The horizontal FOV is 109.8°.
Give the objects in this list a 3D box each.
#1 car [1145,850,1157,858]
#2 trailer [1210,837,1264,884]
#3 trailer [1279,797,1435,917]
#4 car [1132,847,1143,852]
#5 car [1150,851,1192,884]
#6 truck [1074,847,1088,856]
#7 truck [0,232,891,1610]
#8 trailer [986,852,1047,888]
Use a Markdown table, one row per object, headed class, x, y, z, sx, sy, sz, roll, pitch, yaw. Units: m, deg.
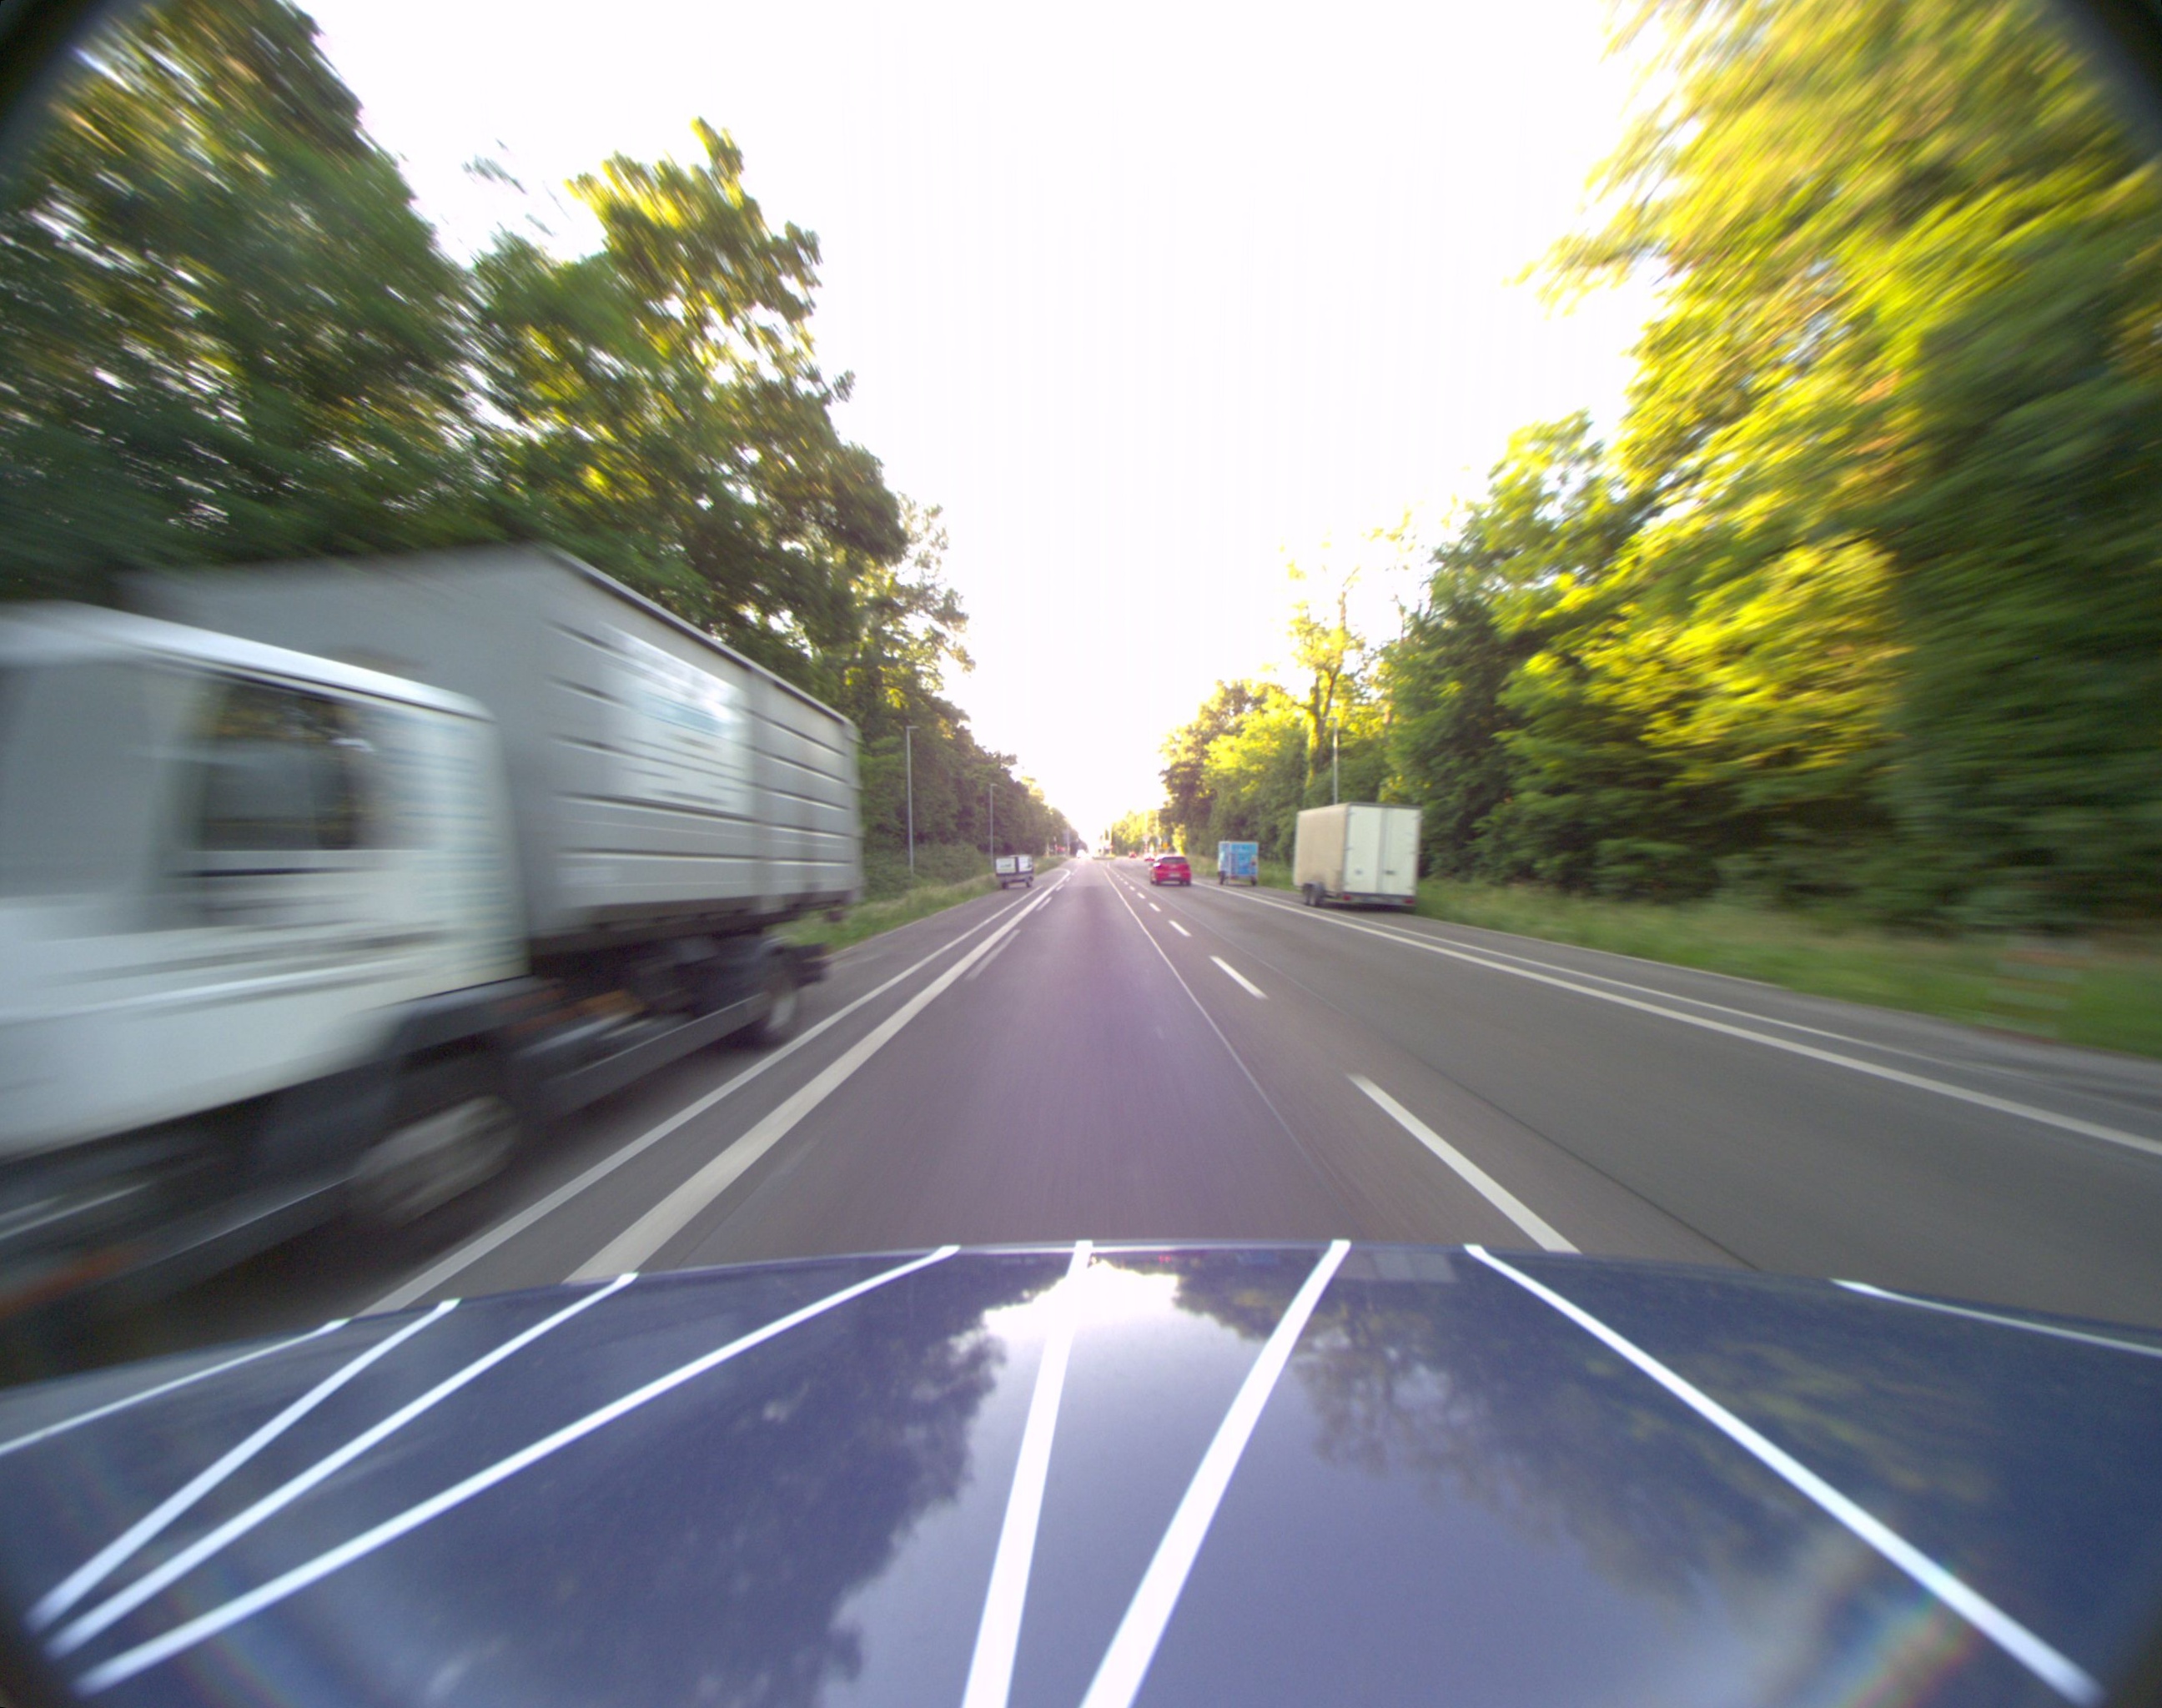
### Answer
| class | x | y | z | sx | sy | sz | roll | pitch | yaw |
| --- | --- | --- | --- | --- | --- | --- | --- | --- | --- |
| car | 13.110 | -0.059 | 143.254 | 2.068 | 1.427 | 4.467 | 0 | -1 | 3 |
| trailer | 7.577 | 0.285 | 37.227 | 1.822 | 2.155 | 4.142 | 0 | 0 | 0 |
| trailer | 7.560 | 0.057 | 21.609 | 2.331 | 2.907 | 5.626 | 1 | 1 | 0 |
| car | 15.008 | -1.205 | 202.712 | 1.821 | 1.525 | 4.461 | 1 | 1 | 18 |
| car | 4.295 | 0.626 | 36.641 | 1.686 | 1.477 | 4.038 | 0 | 0 | 2 |
| truck | 0.128 | -0.752 | 238.207 | 2.600 | 2.543 | 6.029 | -1 | 1 | 17 |
| truck | -3.704 | 0.128 | 5.205 | 2.595 | 3.236 | 7.220 | -2 | 1 | 2 |
| trailer | -3.151 | 0.767 | 37.872 | 1.457 | 1.652 | 3.782 | 0 | 1 | 22 |
